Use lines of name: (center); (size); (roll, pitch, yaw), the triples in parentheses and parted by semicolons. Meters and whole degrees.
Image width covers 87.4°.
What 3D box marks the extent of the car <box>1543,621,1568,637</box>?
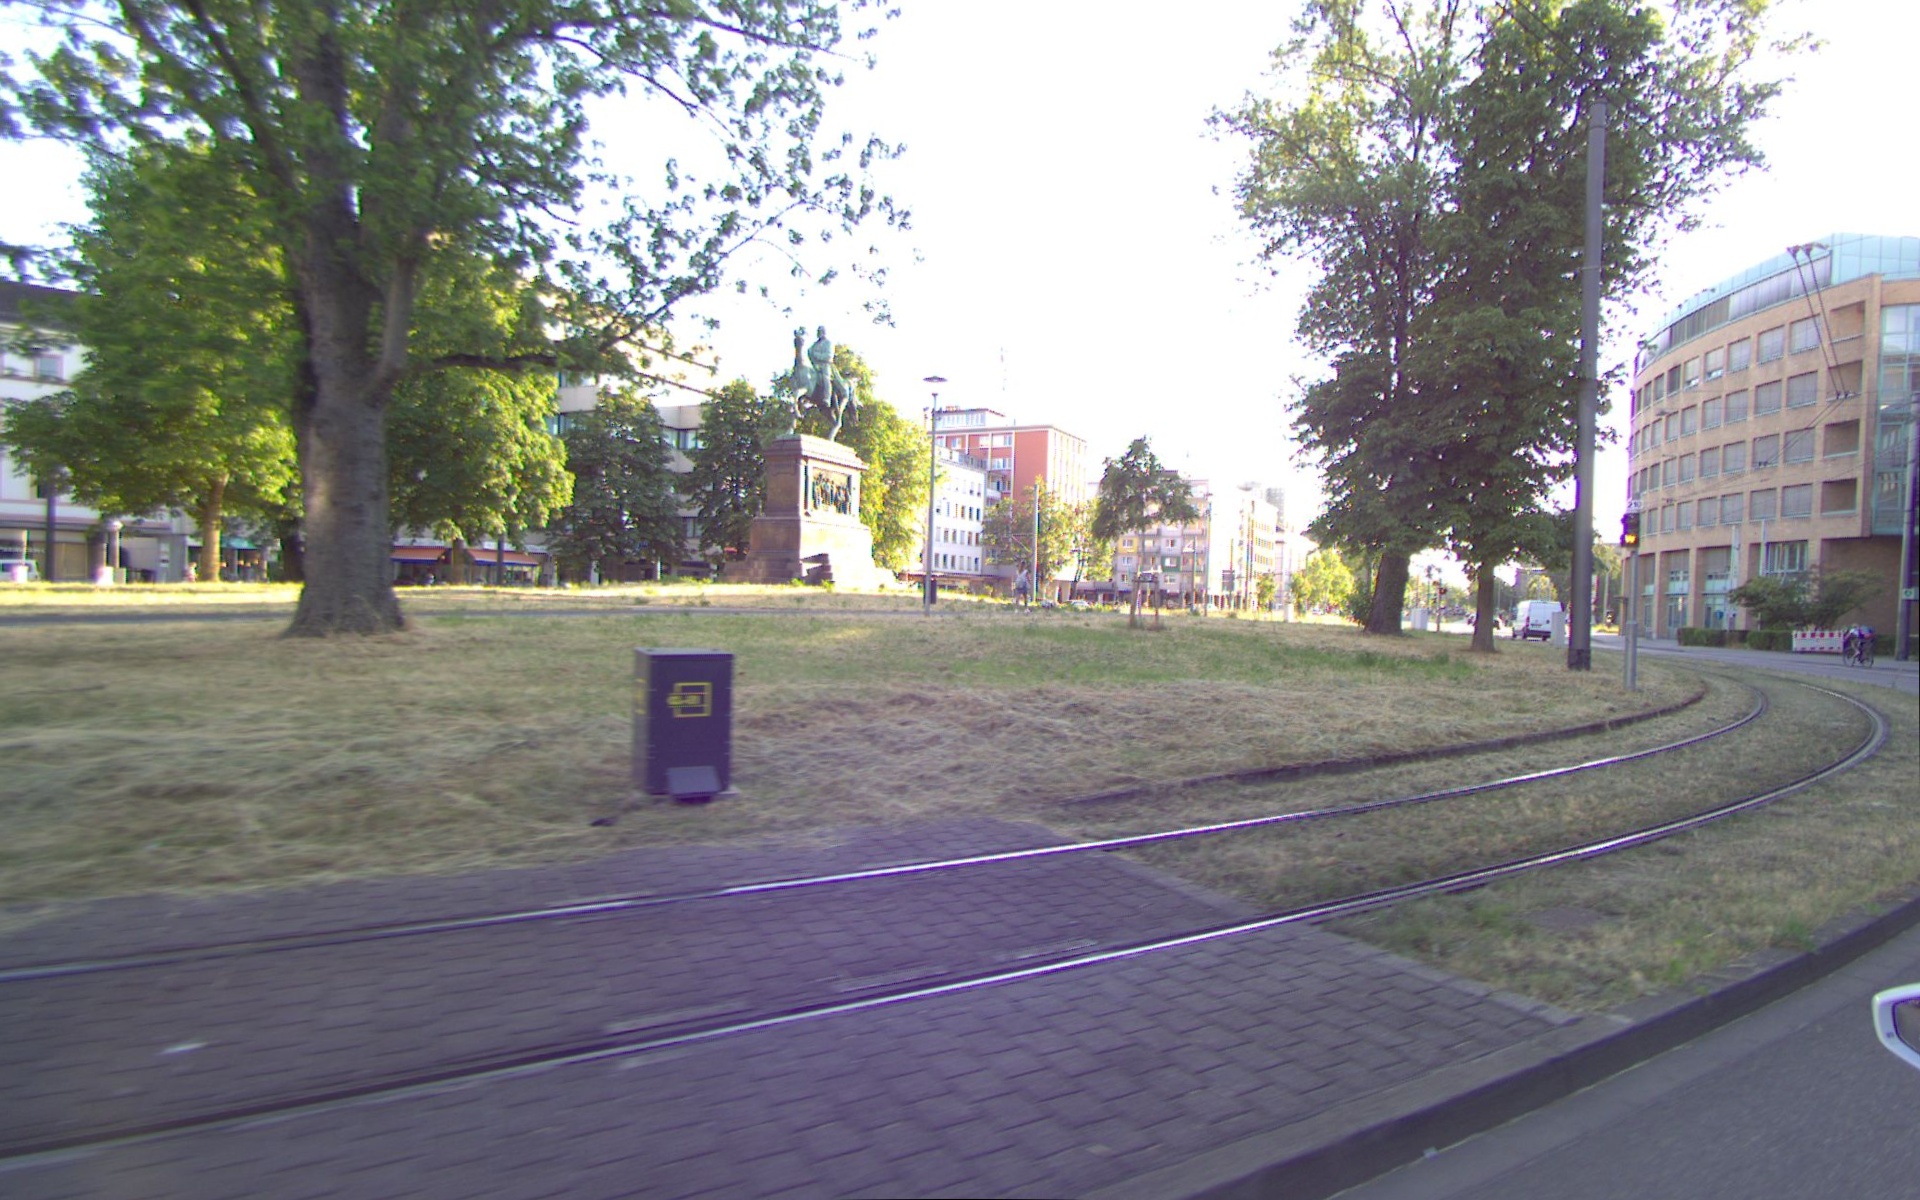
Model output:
car: (58.782, 2.849, 99.207); (1.756, 1.372, 4.261); (3, 1, 27)

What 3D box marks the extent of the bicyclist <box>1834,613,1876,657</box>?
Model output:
bicyclist: (32.606, 1.263, 36.622); (0.644, 1.503, 1.038); (4, 1, 14)

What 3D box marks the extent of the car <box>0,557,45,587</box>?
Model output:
car: (-55.746, -1.652, 58.178); (3.966, 1.686, 1.740); (0, 1, -40)

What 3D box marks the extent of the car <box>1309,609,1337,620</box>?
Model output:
car: (57.950, 2.307, 160.322); (3.919, 1.453, 1.719); (3, 2, 14)

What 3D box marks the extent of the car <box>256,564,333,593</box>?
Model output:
car: (-44.550, -1.428, 67.266); (4.174, 1.819, 1.917); (0, 1, -40)

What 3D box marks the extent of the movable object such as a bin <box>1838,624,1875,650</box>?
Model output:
movable object such as a bin: (52.687, 2.144, 59.059); (1.319, 1.443, 0.924); (2, 1, 21)

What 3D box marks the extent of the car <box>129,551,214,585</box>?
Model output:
car: (-49.335, -1.968, 62.918); (4.174, 1.970, 1.740); (0, 1, -40)

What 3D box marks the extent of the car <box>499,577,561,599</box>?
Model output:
car: (-32.871, -0.931, 76.814); (4.034, 1.577, 1.844); (0, 1, -40)

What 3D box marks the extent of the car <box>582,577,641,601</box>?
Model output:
car: (-27.845, -0.895, 80.288); (4.174, 1.819, 1.740); (0, 1, -40)

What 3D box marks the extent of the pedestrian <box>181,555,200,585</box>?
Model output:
pedestrian: (-45.220, -1.742, 59.018); (0.792, 1.724, 0.792); (1, 2, -34)

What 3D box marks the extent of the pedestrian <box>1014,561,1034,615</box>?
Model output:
pedestrian: (2.095, -0.381, 32.641); (0.467, 1.712, 0.836); (1, 0, 14)

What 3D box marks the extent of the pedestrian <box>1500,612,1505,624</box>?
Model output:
pedestrian: (73.235, 2.419, 135.583); (0.607, 1.495, 0.798); (2, 1, 32)

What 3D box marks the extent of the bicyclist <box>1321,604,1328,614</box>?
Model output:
bicyclist: (57.589, 1.440, 158.713); (0.839, 1.462, 0.663); (3, 2, 3)

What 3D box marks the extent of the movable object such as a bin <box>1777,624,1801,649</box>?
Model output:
movable object such as a bin: (50.435, 2.197, 61.101); (1.335, 1.457, 0.962); (0, 2, -43)

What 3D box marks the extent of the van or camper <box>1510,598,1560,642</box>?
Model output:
van or camper: (37.308, 1.252, 65.310); (2.227, 2.660, 4.500); (2, 1, 23)

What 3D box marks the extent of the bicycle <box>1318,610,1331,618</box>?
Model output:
bicycle: (57.577, 2.212, 158.737); (1.699, 0.983, 0.704); (4, 3, 3)

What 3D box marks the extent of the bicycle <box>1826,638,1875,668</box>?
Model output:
bicycle: (32.626, 1.917, 36.818); (0.506, 0.967, 1.776); (4, 1, 13)

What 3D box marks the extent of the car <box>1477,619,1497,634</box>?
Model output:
car: (54.321, 2.738, 103.506); (1.711, 1.404, 3.993); (2, 1, 28)
